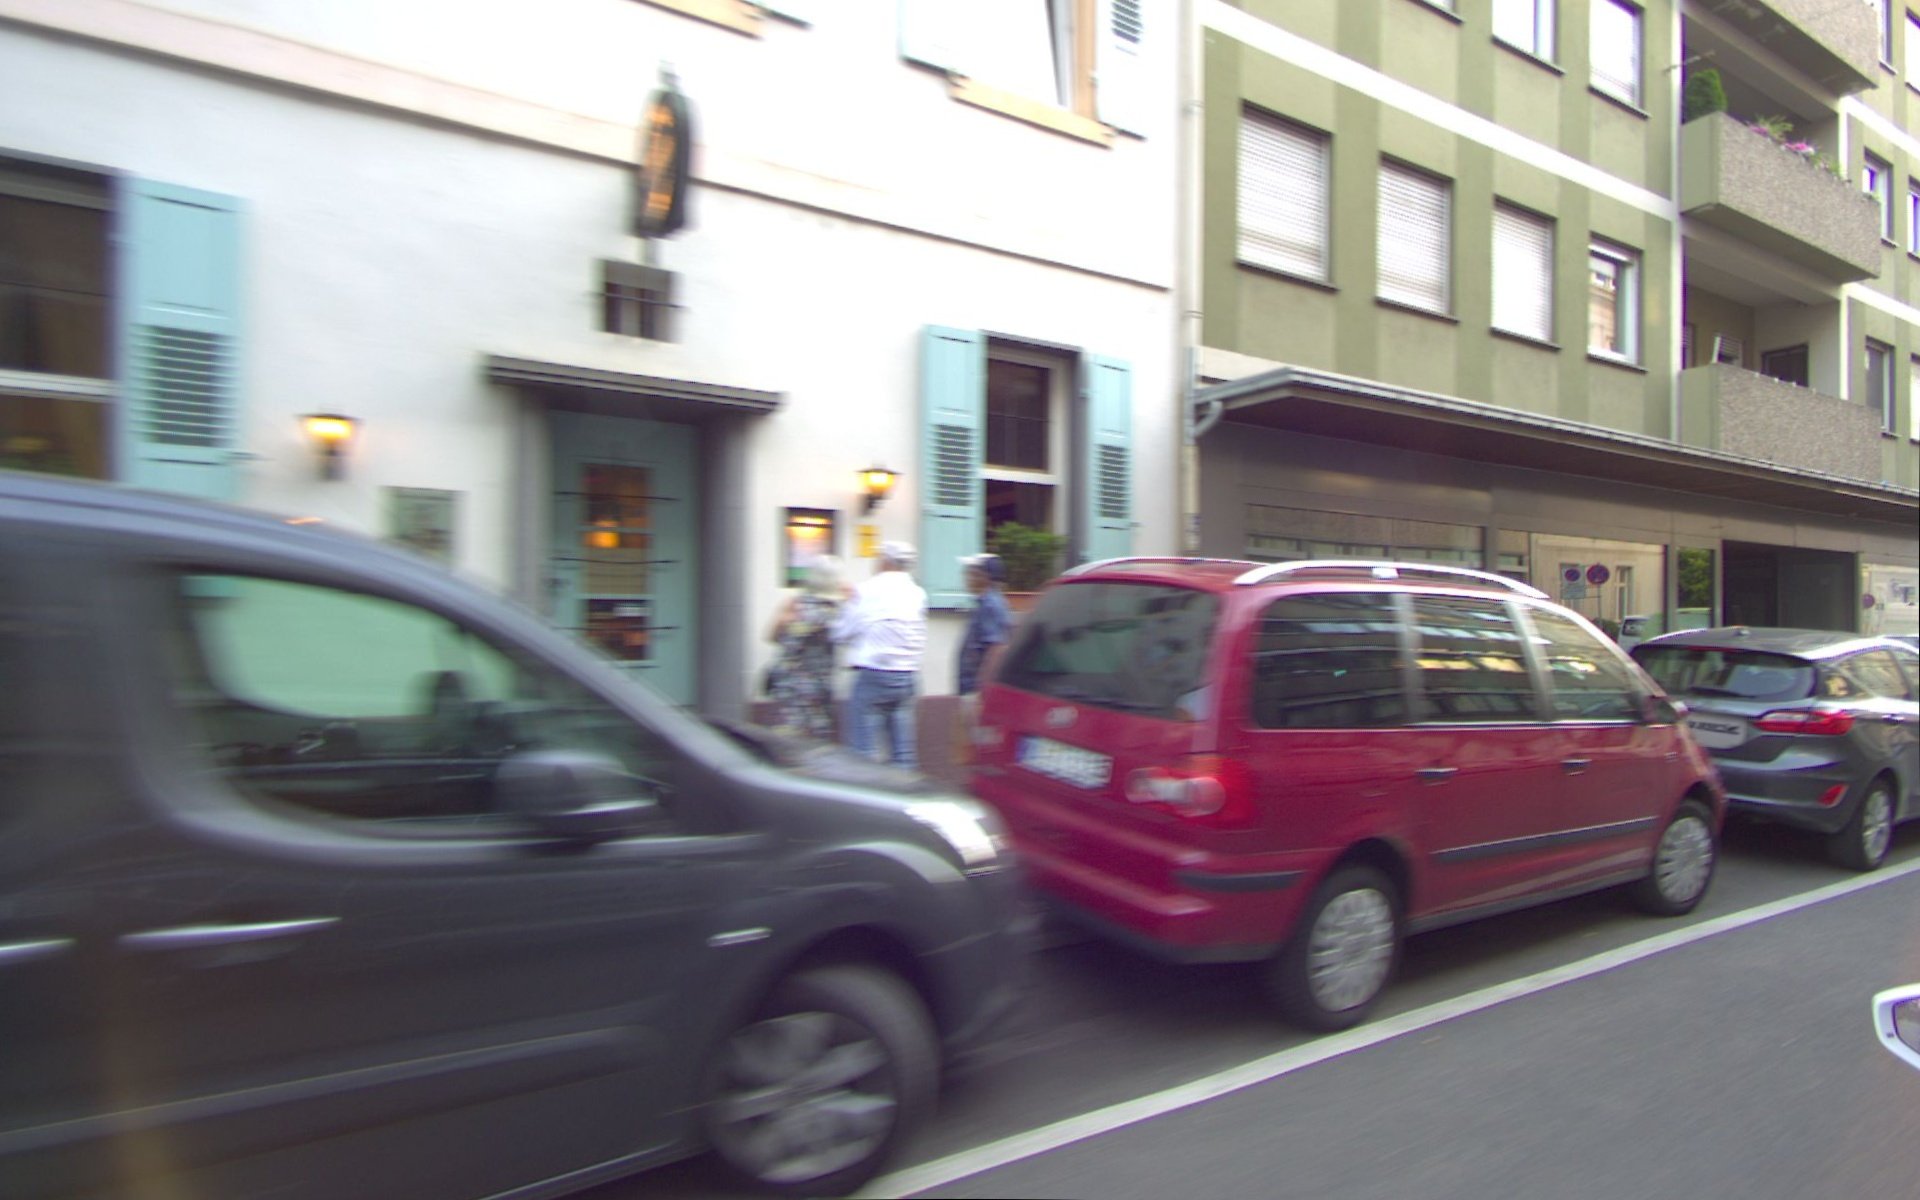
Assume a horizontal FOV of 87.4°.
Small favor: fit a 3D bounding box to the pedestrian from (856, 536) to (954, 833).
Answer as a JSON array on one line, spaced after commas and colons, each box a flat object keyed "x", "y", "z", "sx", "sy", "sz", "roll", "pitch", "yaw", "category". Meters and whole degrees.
[{"x": -0.347, "y": 0.510, "z": 6.293, "sx": 0.464, "sy": 1.773, "sz": 0.404, "roll": 1, "pitch": -1, "yaw": -29, "category": "pedestrian"}]

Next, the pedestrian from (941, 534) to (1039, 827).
[{"x": 0.189, "y": 0.493, "z": 6.385, "sx": 0.464, "sy": 1.773, "sz": 0.404, "roll": 1, "pitch": -1, "yaw": -29, "category": "pedestrian"}]

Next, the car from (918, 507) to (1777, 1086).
[{"x": 2.161, "y": 0.663, "z": 5.123, "sx": 4.460, "sy": 1.835, "sz": 1.763, "roll": 1, "pitch": 0, "yaw": -32, "category": "car"}]

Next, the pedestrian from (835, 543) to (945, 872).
[{"x": -0.403, "y": 0.584, "z": 5.730, "sx": 0.464, "sy": 1.773, "sz": 0.447, "roll": 1, "pitch": -1, "yaw": -29, "category": "pedestrian"}]

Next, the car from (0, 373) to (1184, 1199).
[{"x": -1.658, "y": 0.564, "z": 2.638, "sx": 4.403, "sy": 1.835, "sz": 1.866, "roll": 1, "pitch": -1, "yaw": -34, "category": "car"}]

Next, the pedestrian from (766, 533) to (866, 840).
[{"x": -0.875, "y": 0.504, "z": 6.090, "sx": 0.464, "sy": 1.773, "sz": 0.404, "roll": 1, "pitch": -1, "yaw": -29, "category": "pedestrian"}]

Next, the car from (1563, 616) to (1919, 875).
[{"x": 6.414, "y": 0.907, "z": 7.539, "sx": 3.832, "sy": 1.504, "sz": 1.616, "roll": 1, "pitch": -2, "yaw": -30, "category": "car"}]

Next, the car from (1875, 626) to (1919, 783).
[{"x": 10.743, "y": 1.010, "z": 9.857, "sx": 3.936, "sy": 1.435, "sz": 1.615, "roll": 1, "pitch": -1, "yaw": -32, "category": "car"}]
